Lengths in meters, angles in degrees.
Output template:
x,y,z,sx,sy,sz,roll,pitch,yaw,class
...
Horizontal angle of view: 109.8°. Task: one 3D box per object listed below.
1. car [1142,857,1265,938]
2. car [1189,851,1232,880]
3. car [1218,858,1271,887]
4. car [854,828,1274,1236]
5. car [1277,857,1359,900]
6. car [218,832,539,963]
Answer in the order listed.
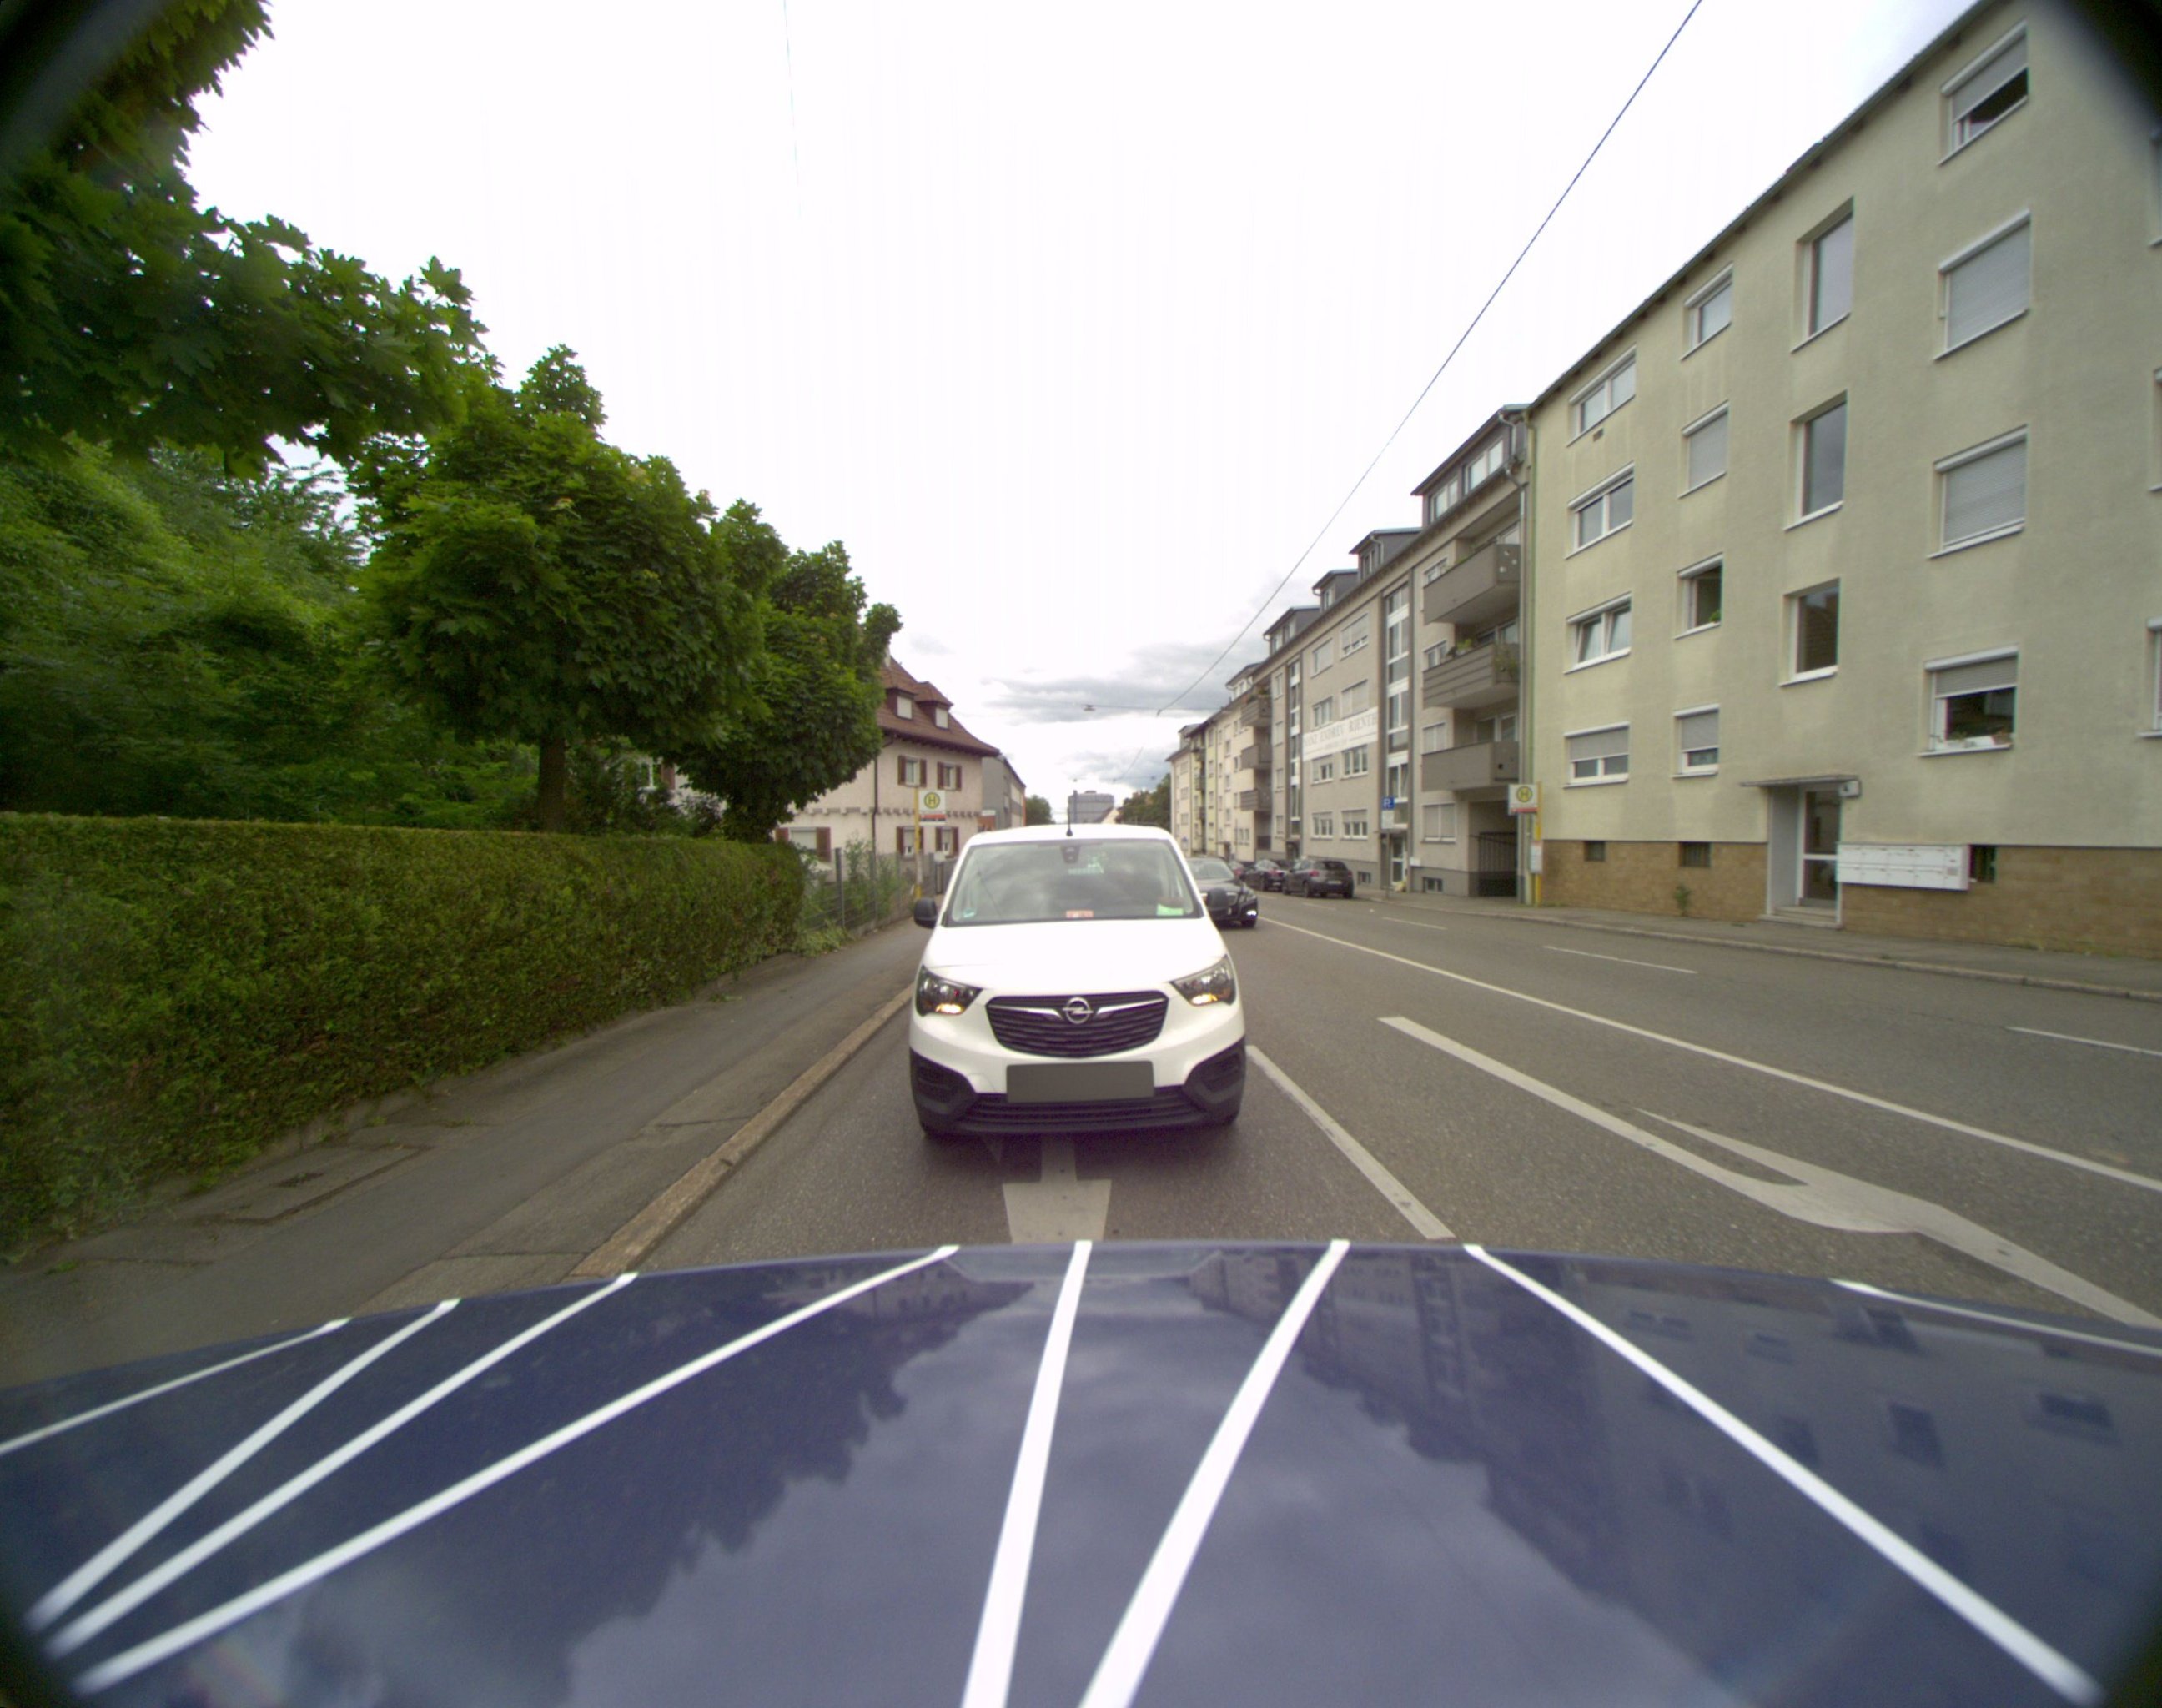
x,y,z,sx,sy,sz,roll,pitch,yaw,class
2.520,0.841,16.711,1.752,1.446,4.444,-2,1,-3,car
8.334,0.697,49.120,1.875,1.743,4.306,2,0,-2,car
8.513,0.932,39.851,1.772,1.397,4.307,0,0,-1,car
-0.130,0.776,5.395,1.803,1.736,3.999,-3,1,-2,car
8.894,0.870,28.851,1.773,1.428,3.800,2,0,-2,car
-12.531,0.655,13.768,1.994,2.002,4.008,-1,0,40,car
